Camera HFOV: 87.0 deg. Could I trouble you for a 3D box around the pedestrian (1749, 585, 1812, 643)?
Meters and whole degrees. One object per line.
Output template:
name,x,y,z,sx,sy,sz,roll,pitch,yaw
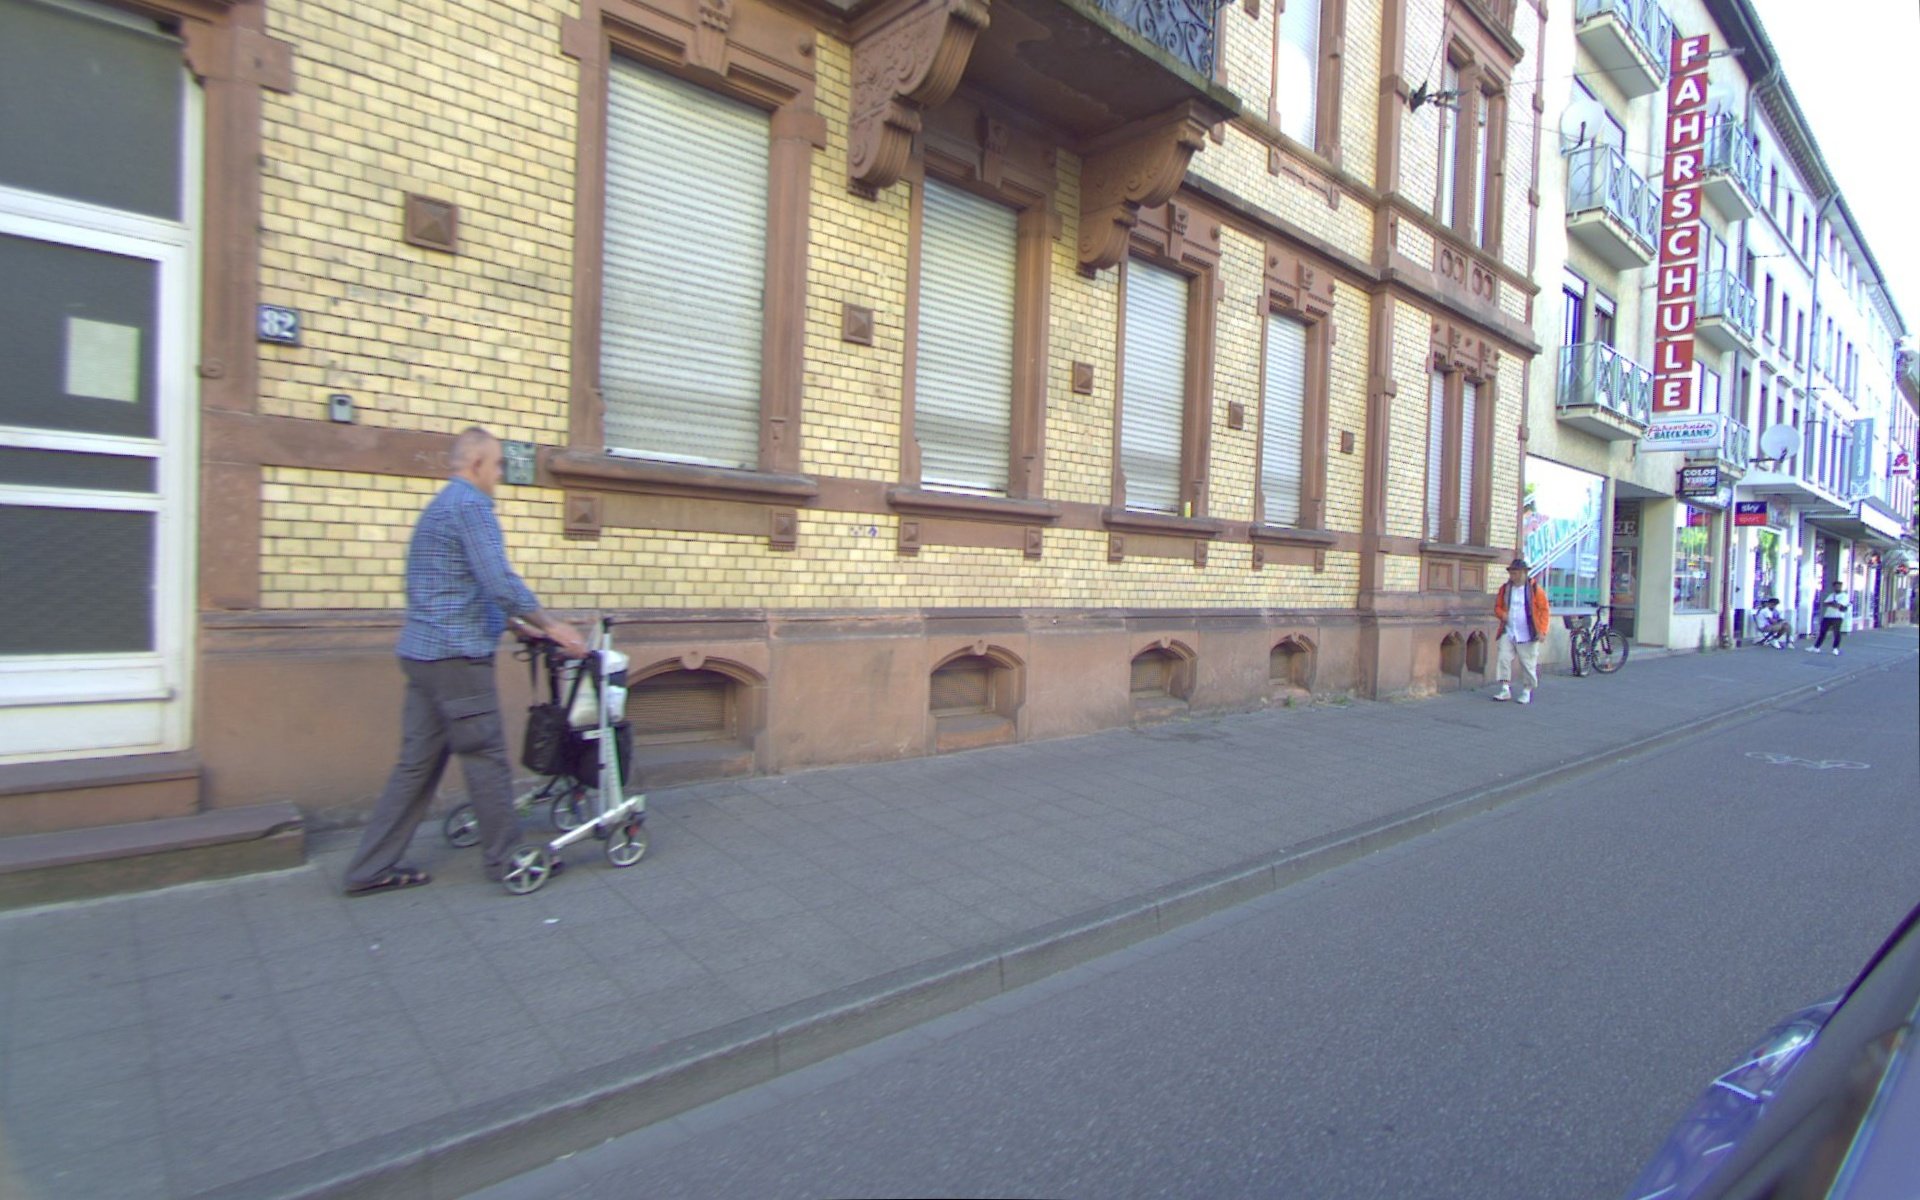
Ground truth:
pedestrian,20.270,0.330,25.031,0.819,1.269,0.705,7,6,13

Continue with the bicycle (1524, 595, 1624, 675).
bicycle,9.157,0.490,15.049,2.271,1.073,0.556,0,5,-42

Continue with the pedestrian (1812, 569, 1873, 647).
pedestrian,22.018,0.187,25.263,0.665,1.832,0.709,3,6,-27

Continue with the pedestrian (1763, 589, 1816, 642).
pedestrian,21.064,0.378,25.726,0.701,1.188,1.006,9,6,28

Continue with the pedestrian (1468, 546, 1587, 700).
pedestrian,6.630,0.255,11.832,0.811,1.646,0.800,2,6,-41

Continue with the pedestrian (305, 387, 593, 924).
pedestrian,-2.007,0.158,3.947,0.748,1.821,0.807,1,5,-42

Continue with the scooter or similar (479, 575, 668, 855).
scooter or similar,-1.786,0.473,4.636,0.512,1.082,0.807,0,7,-42
